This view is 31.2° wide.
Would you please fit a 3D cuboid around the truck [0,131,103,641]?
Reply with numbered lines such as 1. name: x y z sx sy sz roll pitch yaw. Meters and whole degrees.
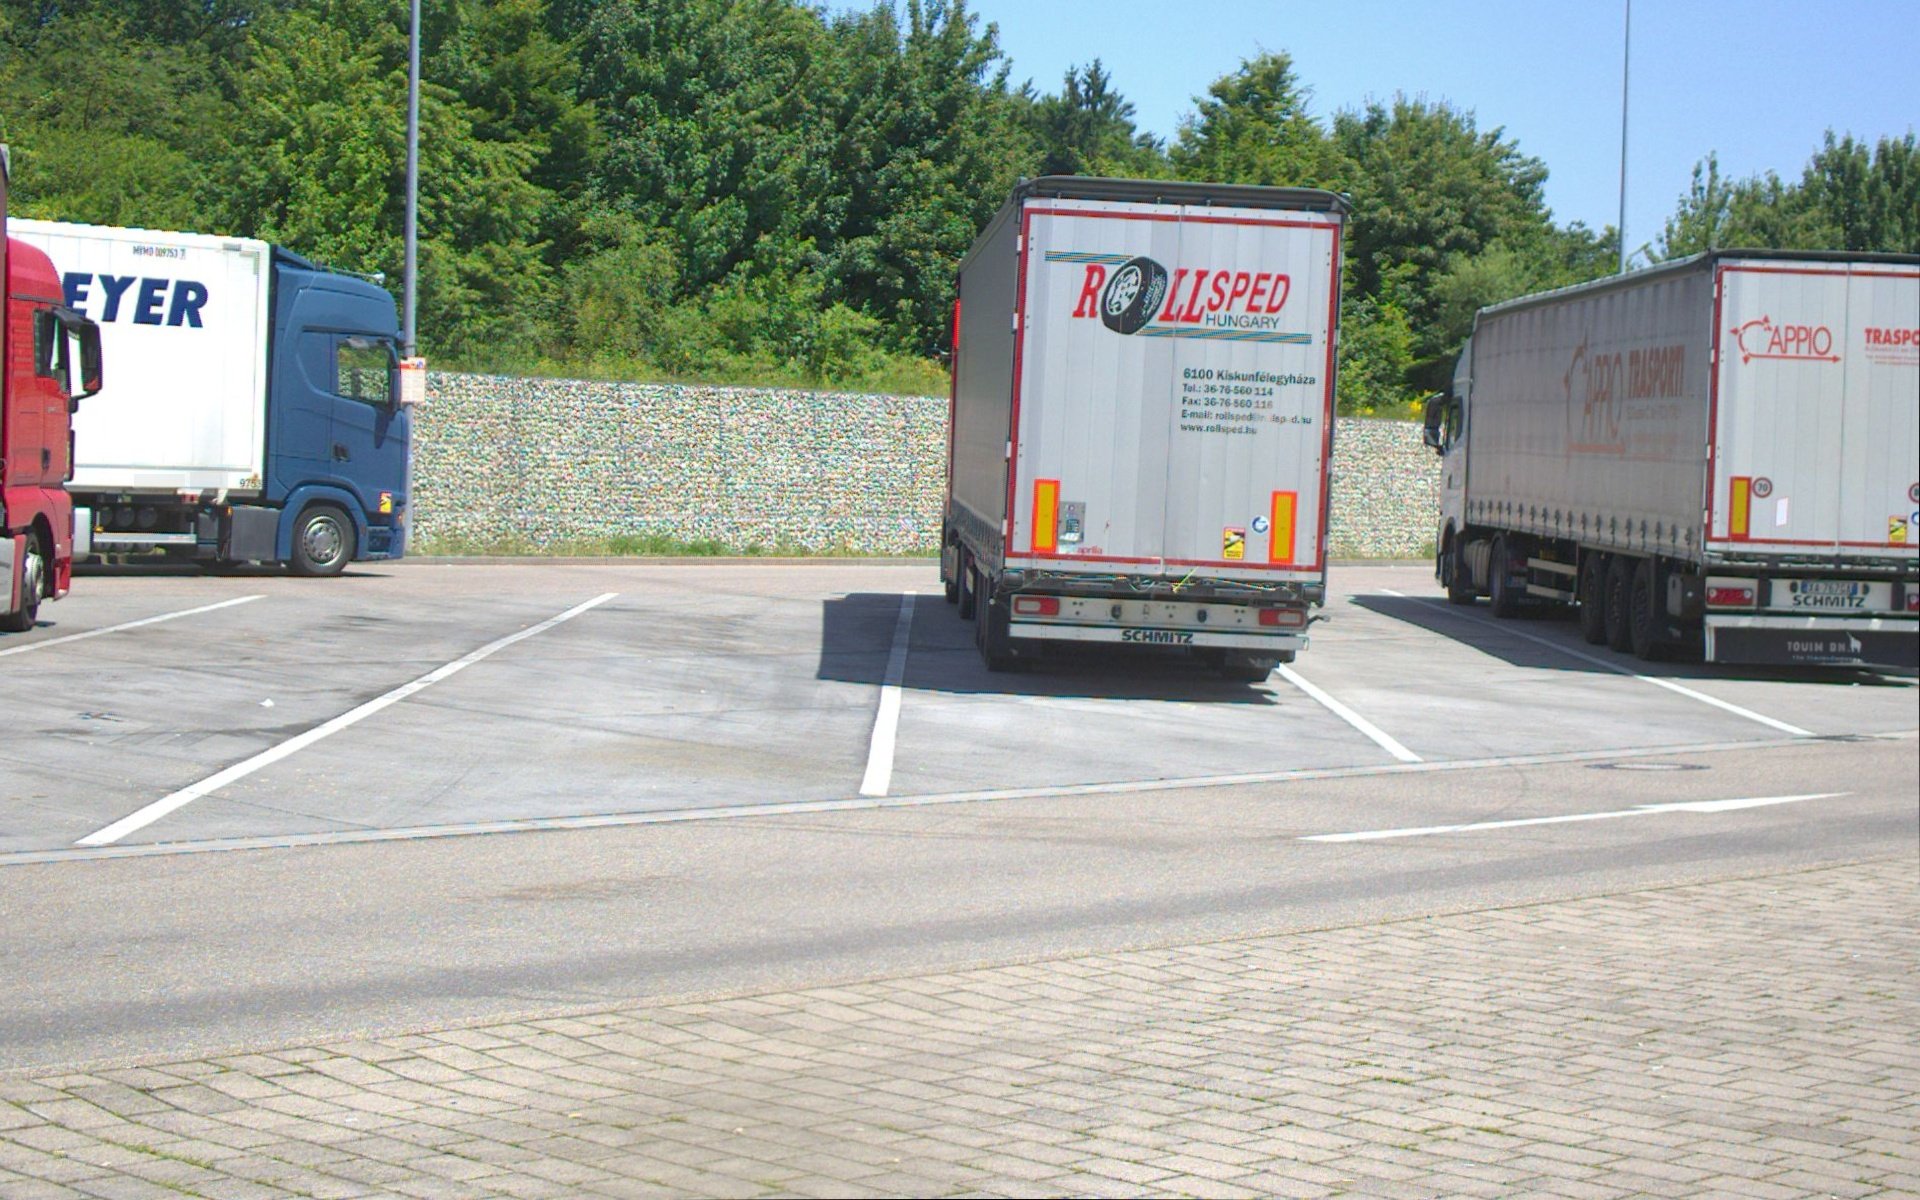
1. truck: -9.173 -1.755 28.331 2.805 4.119 5.894 1 2 -1

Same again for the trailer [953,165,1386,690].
1. trailer: 1.598 -1.500 32.098 2.897 4.000 11.319 1 2 -2

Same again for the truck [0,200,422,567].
1. truck: -10.970 -2.473 39.686 2.240 4.019 10.028 2 1 44

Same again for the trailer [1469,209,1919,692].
1. trailer: 8.115 -1.580 38.234 2.681 4.437 12.831 1 2 -1

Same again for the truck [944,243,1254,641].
1. truck: 1.390 -1.685 37.718 2.871 3.966 6.030 1 2 -2

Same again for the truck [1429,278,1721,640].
1. truck: 7.983 -1.826 45.316 2.661 4.437 5.864 1 2 -1

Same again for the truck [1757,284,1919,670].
1. truck: 11.734 -1.338 38.642 2.587 4.211 11.971 1 1 -1
